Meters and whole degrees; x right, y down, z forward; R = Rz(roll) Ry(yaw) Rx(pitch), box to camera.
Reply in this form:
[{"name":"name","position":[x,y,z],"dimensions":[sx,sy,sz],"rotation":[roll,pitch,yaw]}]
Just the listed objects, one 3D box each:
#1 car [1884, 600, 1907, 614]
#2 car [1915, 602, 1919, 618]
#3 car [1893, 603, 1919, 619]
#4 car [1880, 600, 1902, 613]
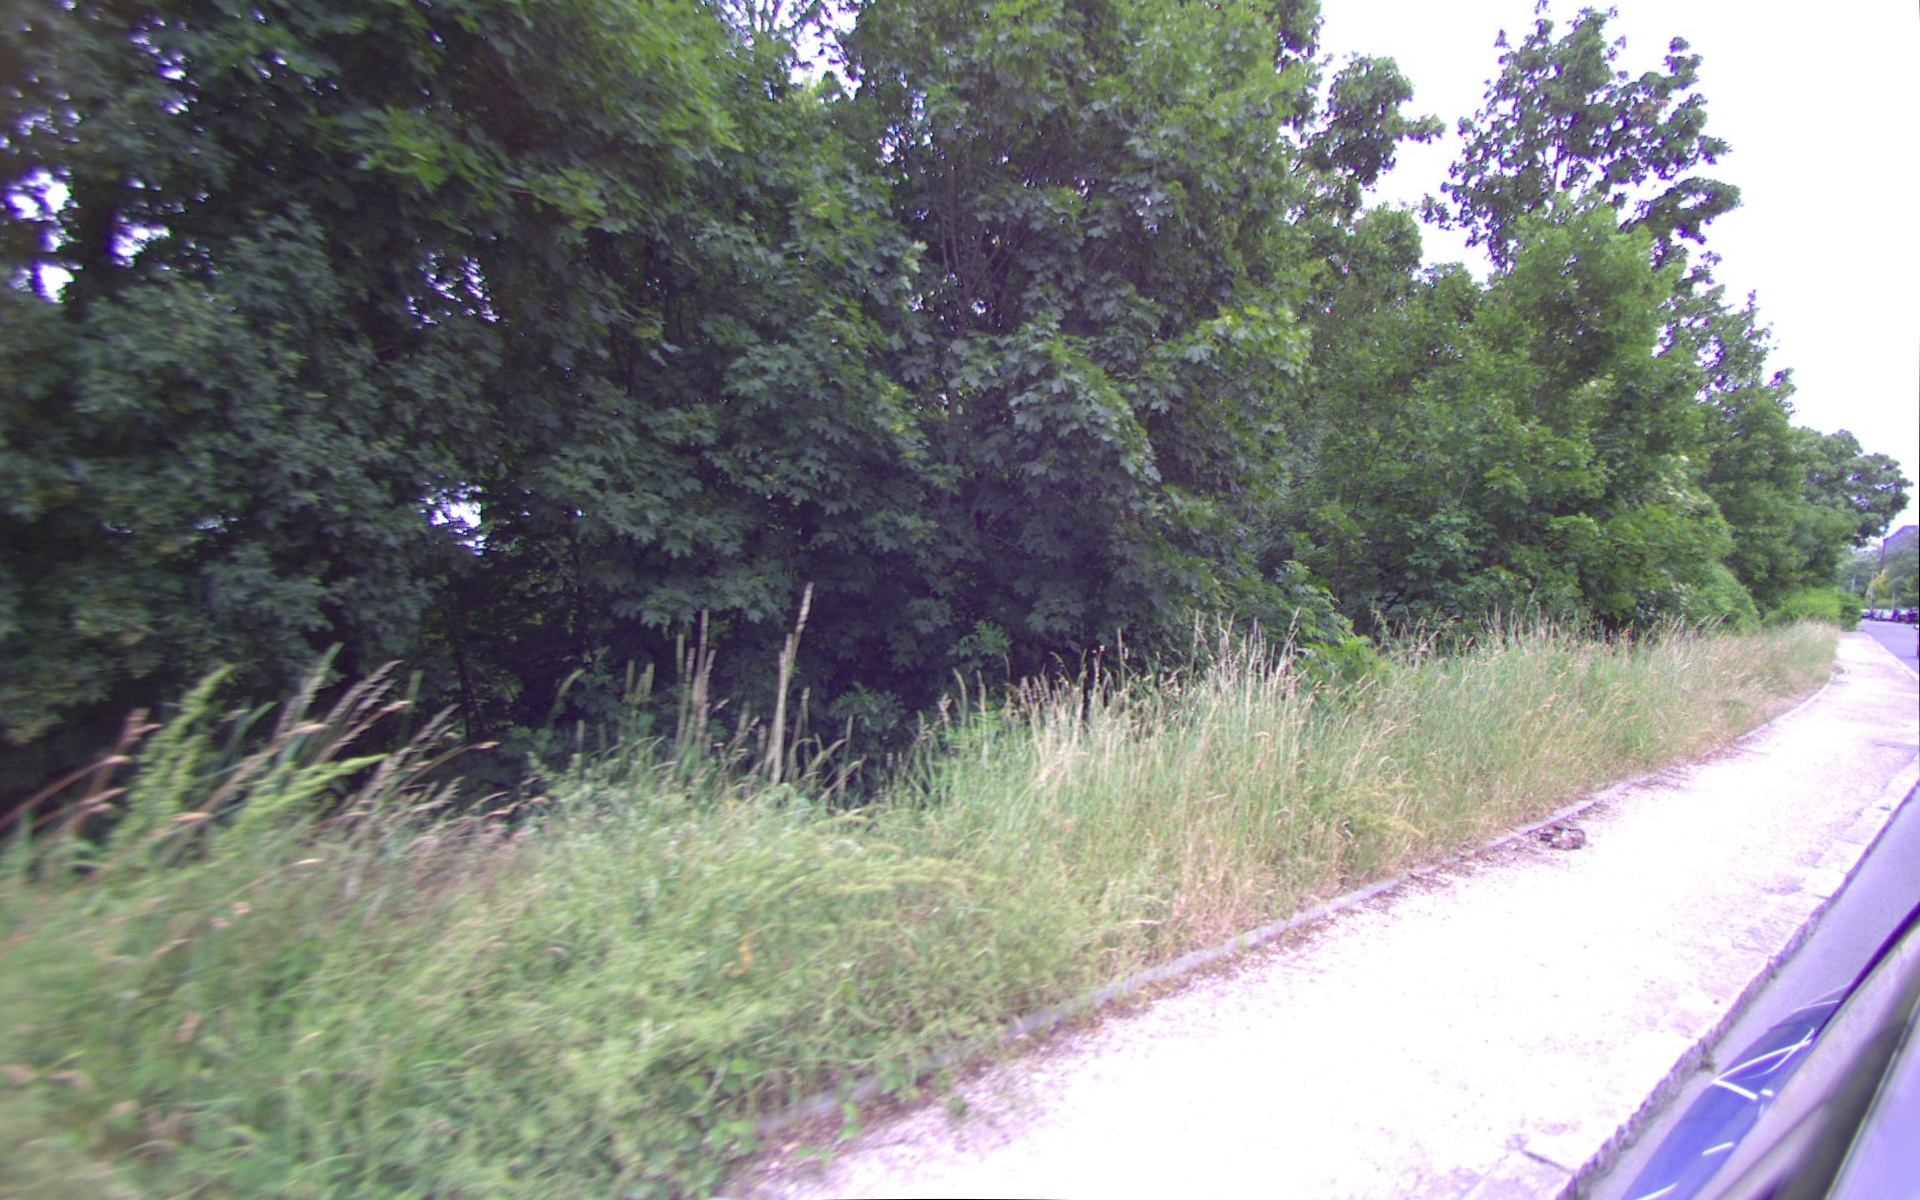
[{"name":"car","position":[121.655,0.919,131.643],"dimensions":[1.914,1.701,4.135],"rotation":[1,0,39]},{"name":"car","position":[100.393,1.049,104.881],"dimensions":[1.917,1.701,4.130],"rotation":[1,0,42]},{"name":"car","position":[106.470,1.205,113.731],"dimensions":[1.913,1.701,4.138],"rotation":[1,0,37]},{"name":"car","position":[124.620,0.872,135.545],"dimensions":[1.914,1.701,4.135],"rotation":[1,0,39]}]
